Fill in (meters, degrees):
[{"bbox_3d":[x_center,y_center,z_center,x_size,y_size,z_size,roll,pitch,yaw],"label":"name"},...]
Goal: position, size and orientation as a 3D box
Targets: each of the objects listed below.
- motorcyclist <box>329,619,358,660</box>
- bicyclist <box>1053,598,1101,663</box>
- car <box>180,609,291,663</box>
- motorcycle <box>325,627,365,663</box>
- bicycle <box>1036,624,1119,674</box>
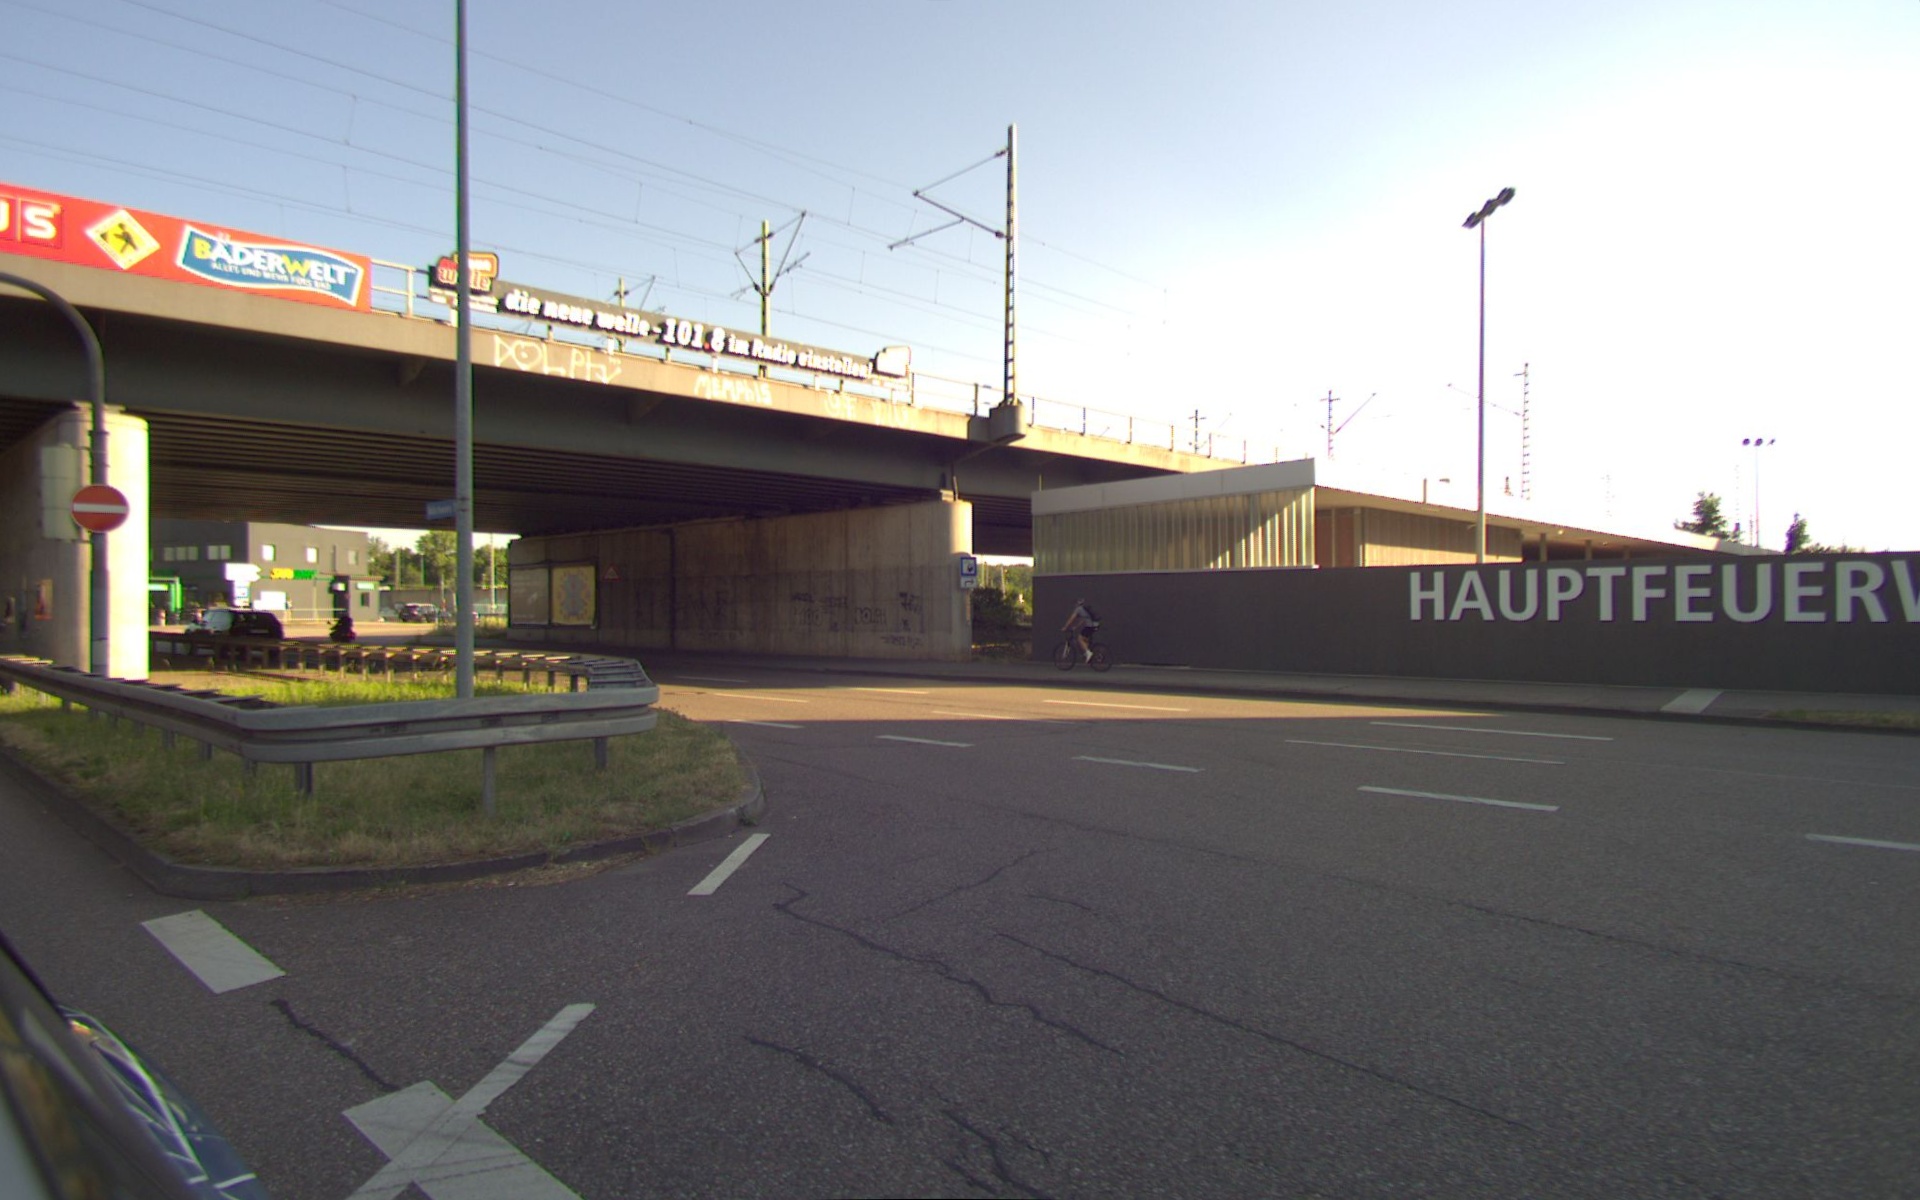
[{"bbox_3d":[-22.052,1.403,36.176,0.673,1.434,0.868,-2,1,-45],"label":"motorcyclist"},{"bbox_3d":[2.938,0.738,25.419,0.716,1.575,0.940,-2,1,-44],"label":"bicyclist"},{"bbox_3d":[-25.267,1.230,35.234,4.677,1.709,1.973,0,-3,40],"label":"car"},{"bbox_3d":[-21.973,1.585,36.134,2.240,1.165,0.673,0,1,45],"label":"motorcycle"},{"bbox_3d":[2.936,1.221,25.449,0.697,1.165,2.082,-2,0,-45],"label":"bicycle"}]
